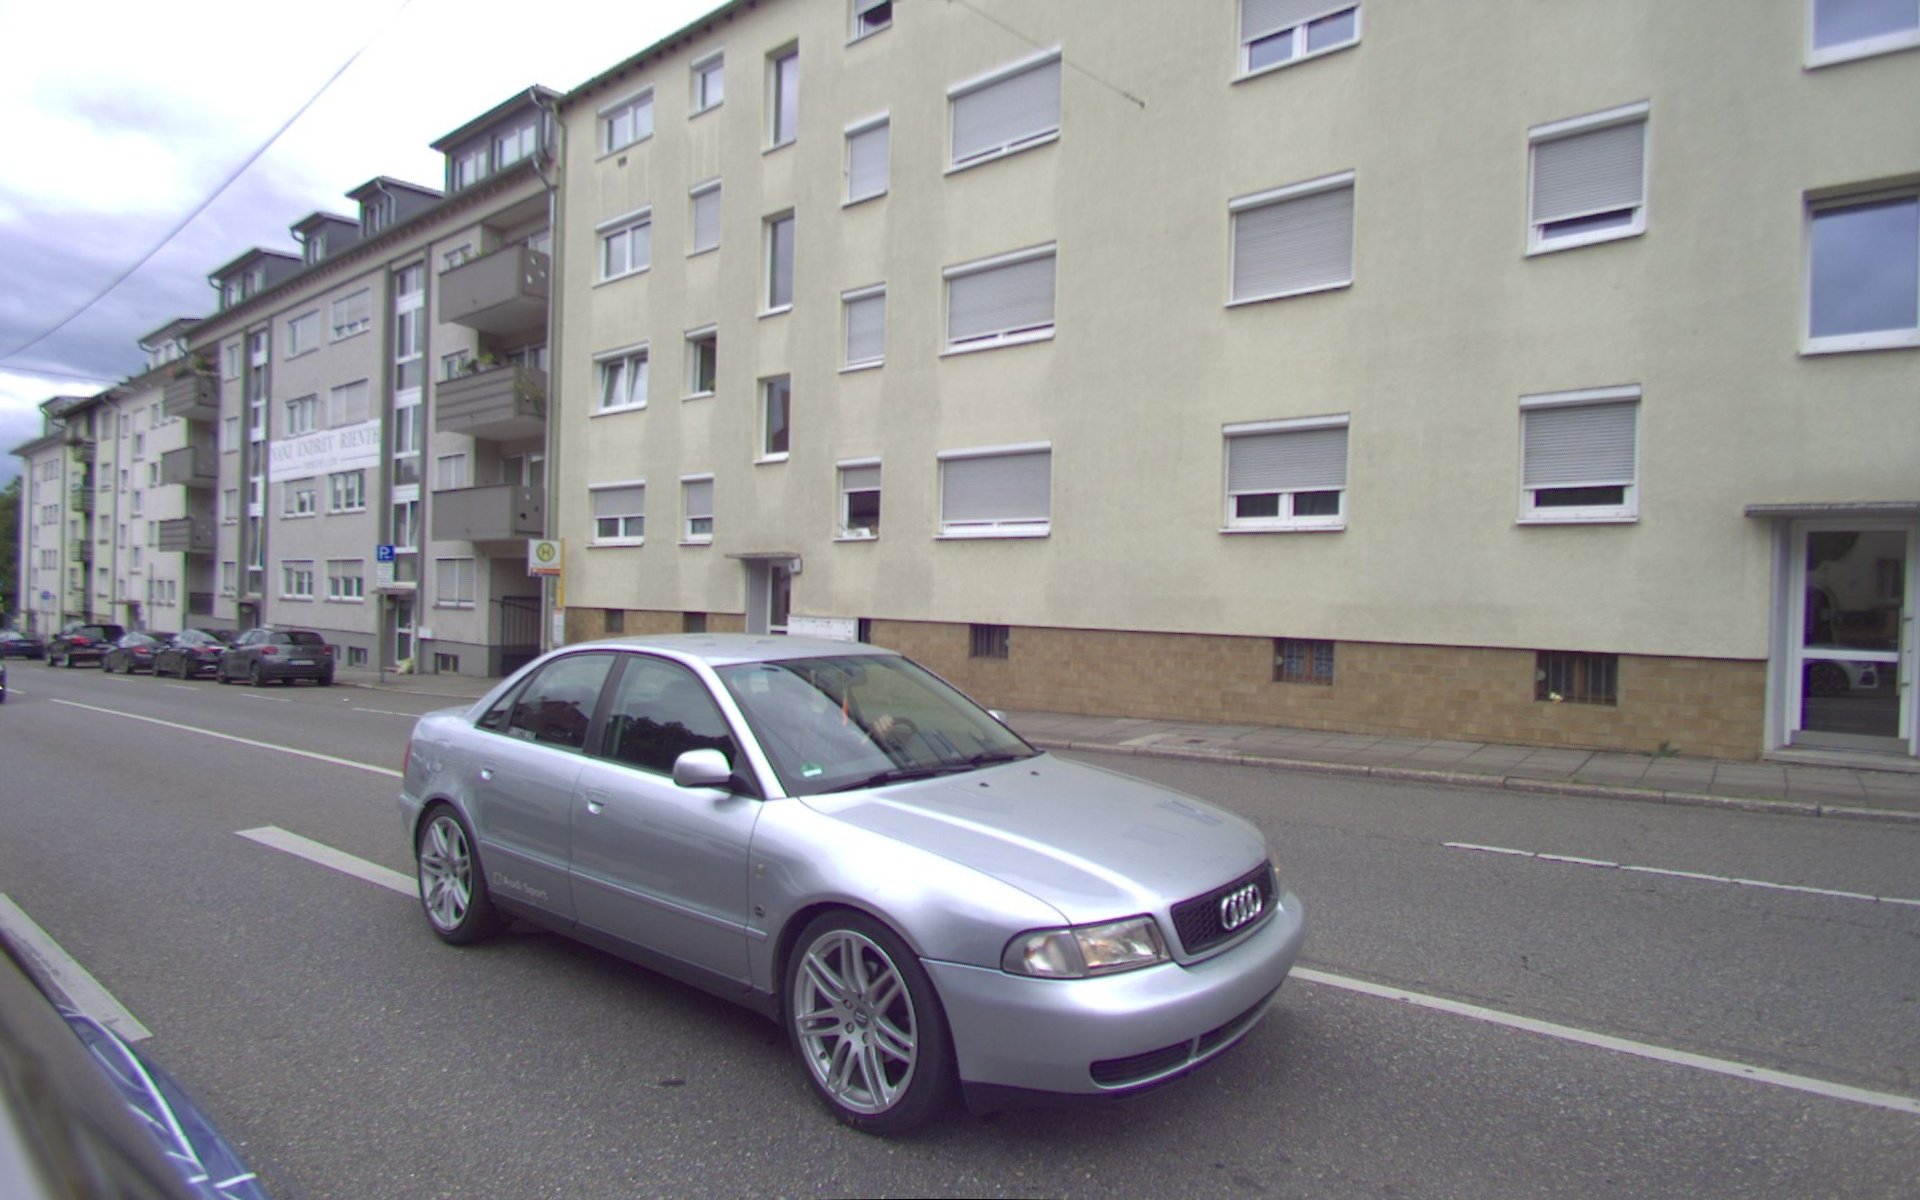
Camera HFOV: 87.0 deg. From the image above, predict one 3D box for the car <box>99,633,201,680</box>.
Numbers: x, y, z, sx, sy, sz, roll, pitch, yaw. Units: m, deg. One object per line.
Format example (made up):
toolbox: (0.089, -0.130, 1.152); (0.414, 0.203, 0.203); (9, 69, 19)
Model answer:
car: (-26.413, 1.783, 32.960); (4.303, 1.416, 1.750); (-1, -2, 40)

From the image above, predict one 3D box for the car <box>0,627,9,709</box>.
car: (-19.448, 1.242, 18.918); (4.438, 1.465, 1.731); (-1, -1, 37)

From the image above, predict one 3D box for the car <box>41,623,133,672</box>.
car: (-33.577, 1.807, 38.898); (4.302, 1.767, 1.852); (-1, -4, 39)

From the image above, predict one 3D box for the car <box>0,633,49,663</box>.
car: (-46.415, 2.332, 49.724); (4.305, 1.391, 1.851); (-1, -4, 41)

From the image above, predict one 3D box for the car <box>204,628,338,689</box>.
car: (-17.810, 1.491, 26.110); (3.797, 1.447, 1.751); (-1, -4, 39)

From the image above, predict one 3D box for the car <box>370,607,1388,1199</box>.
car: (-0.670, 0.779, 4.174); (4.172, 1.383, 1.679); (-2, -2, 39)
